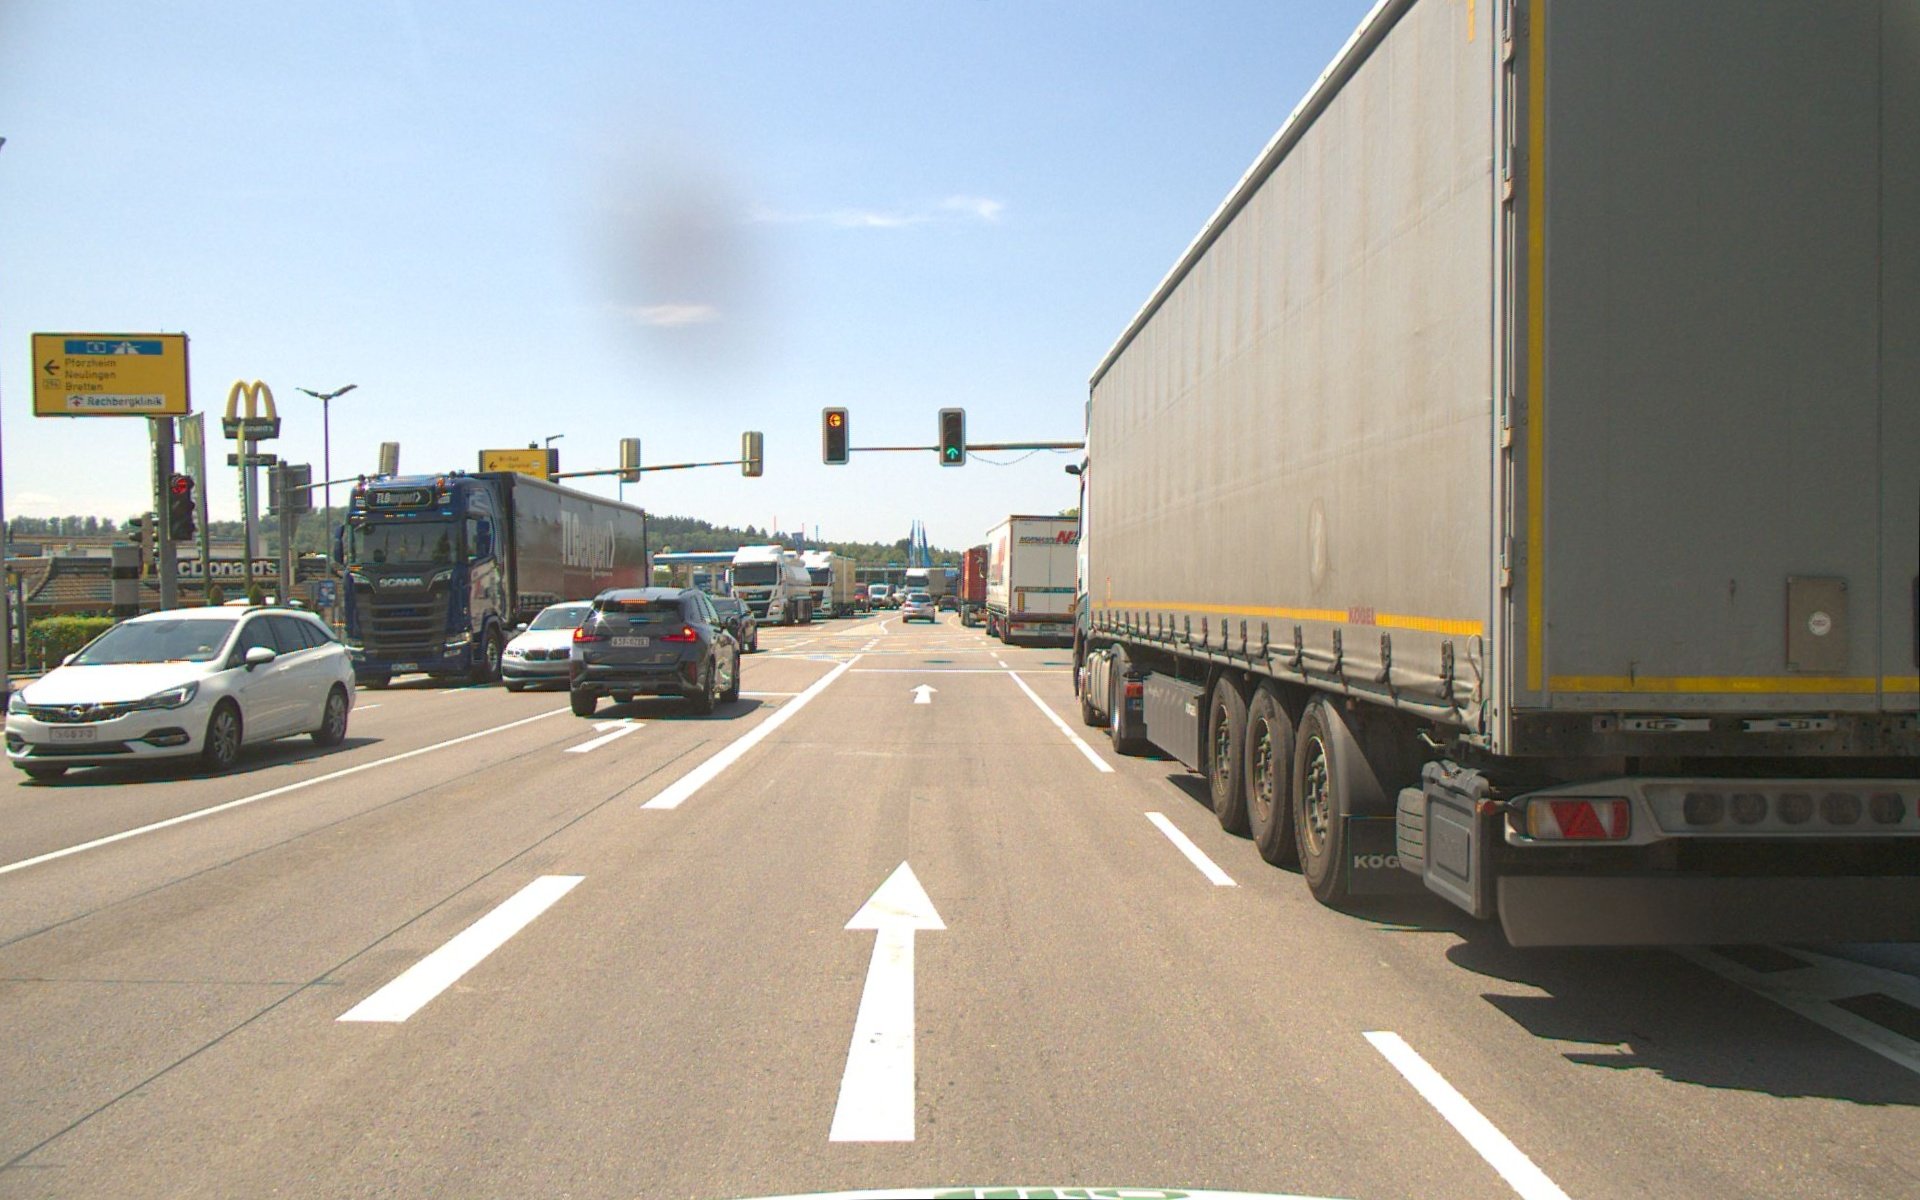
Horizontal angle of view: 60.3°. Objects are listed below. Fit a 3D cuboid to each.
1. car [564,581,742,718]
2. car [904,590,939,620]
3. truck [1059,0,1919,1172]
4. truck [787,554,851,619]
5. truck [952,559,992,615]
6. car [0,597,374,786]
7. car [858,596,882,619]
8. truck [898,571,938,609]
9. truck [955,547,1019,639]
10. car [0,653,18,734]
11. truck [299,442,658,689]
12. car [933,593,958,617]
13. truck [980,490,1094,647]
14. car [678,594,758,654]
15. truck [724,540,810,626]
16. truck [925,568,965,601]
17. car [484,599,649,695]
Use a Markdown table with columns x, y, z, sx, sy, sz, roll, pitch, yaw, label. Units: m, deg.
| x | y | z | sx | sy | sz | roll | pitch | yaw | label |
| --- | --- | --- | --- | --- | --- | --- | --- | --- | --- |
| -4.117 | 0.615 | 22.819 | 1.758 | 1.655 | 4.367 | -2 | 0 | -2 | car |
| -2.168 | 0.287 | 94.046 | 1.767 | 1.699 | 4.292 | 0 | 0 | 1 | car |
| 2.871 | -0.389 | 13.638 | 2.700 | 4.720 | 16.648 | 0 | -1 | -1 | truck |
| -9.366 | -0.840 | 111.331 | 2.874 | 4.019 | 13.865 | -2 | 0 | 1 | truck |
| 0.792 | -0.849 | 117.928 | 2.555 | 3.782 | 9.446 | 0 | -1 | -1 | truck |
| -7.383 | 0.818 | 16.159 | 1.705 | 1.530 | 4.405 | -2 | -1 | 0 | car |
| -8.284 | 0.737 | 152.122 | 1.865 | 2.049 | 4.001 | 0 | -1 | 2 | car |
| -4.783 | -1.062 | 191.580 | 3.202 | 4.019 | 13.870 | 0 | -1 | 4 | truck |
| 1.325 | -0.171 | 90.508 | 2.817 | 4.557 | 16.648 | 0 | -1 | -1 | truck |
| -19.756 | 1.735 | 30.292 | 1.756 | 1.506 | 3.992 | -1 | -2 | 40 | car |
| -10.386 | -0.665 | 38.965 | 3.081 | 4.425 | 17.543 | -1 | 0 | 1 | truck |
| -1.290 | 0.444 | 148.747 | 1.952 | 2.049 | 4.001 | -1 | 0 | 2 | car |
| 2.427 | -0.785 | 58.249 | 2.817 | 4.720 | 16.648 | 0 | -1 | -1 | truck |
| -6.672 | 0.636 | 45.949 | 1.630 | 1.535 | 3.904 | -1 | 0 | 0 | car |
| -9.867 | -0.796 | 86.277 | 2.875 | 4.019 | 14.234 | -2 | 0 | -1 | truck |
| -1.878 | -1.983 | 215.248 | 3.201 | 4.019 | 13.875 | -2 | 0 | 7 | truck |
| -6.953 | 0.776 | 29.745 | 1.773 | 1.535 | 4.946 | -2 | 0 | -1 | car |
